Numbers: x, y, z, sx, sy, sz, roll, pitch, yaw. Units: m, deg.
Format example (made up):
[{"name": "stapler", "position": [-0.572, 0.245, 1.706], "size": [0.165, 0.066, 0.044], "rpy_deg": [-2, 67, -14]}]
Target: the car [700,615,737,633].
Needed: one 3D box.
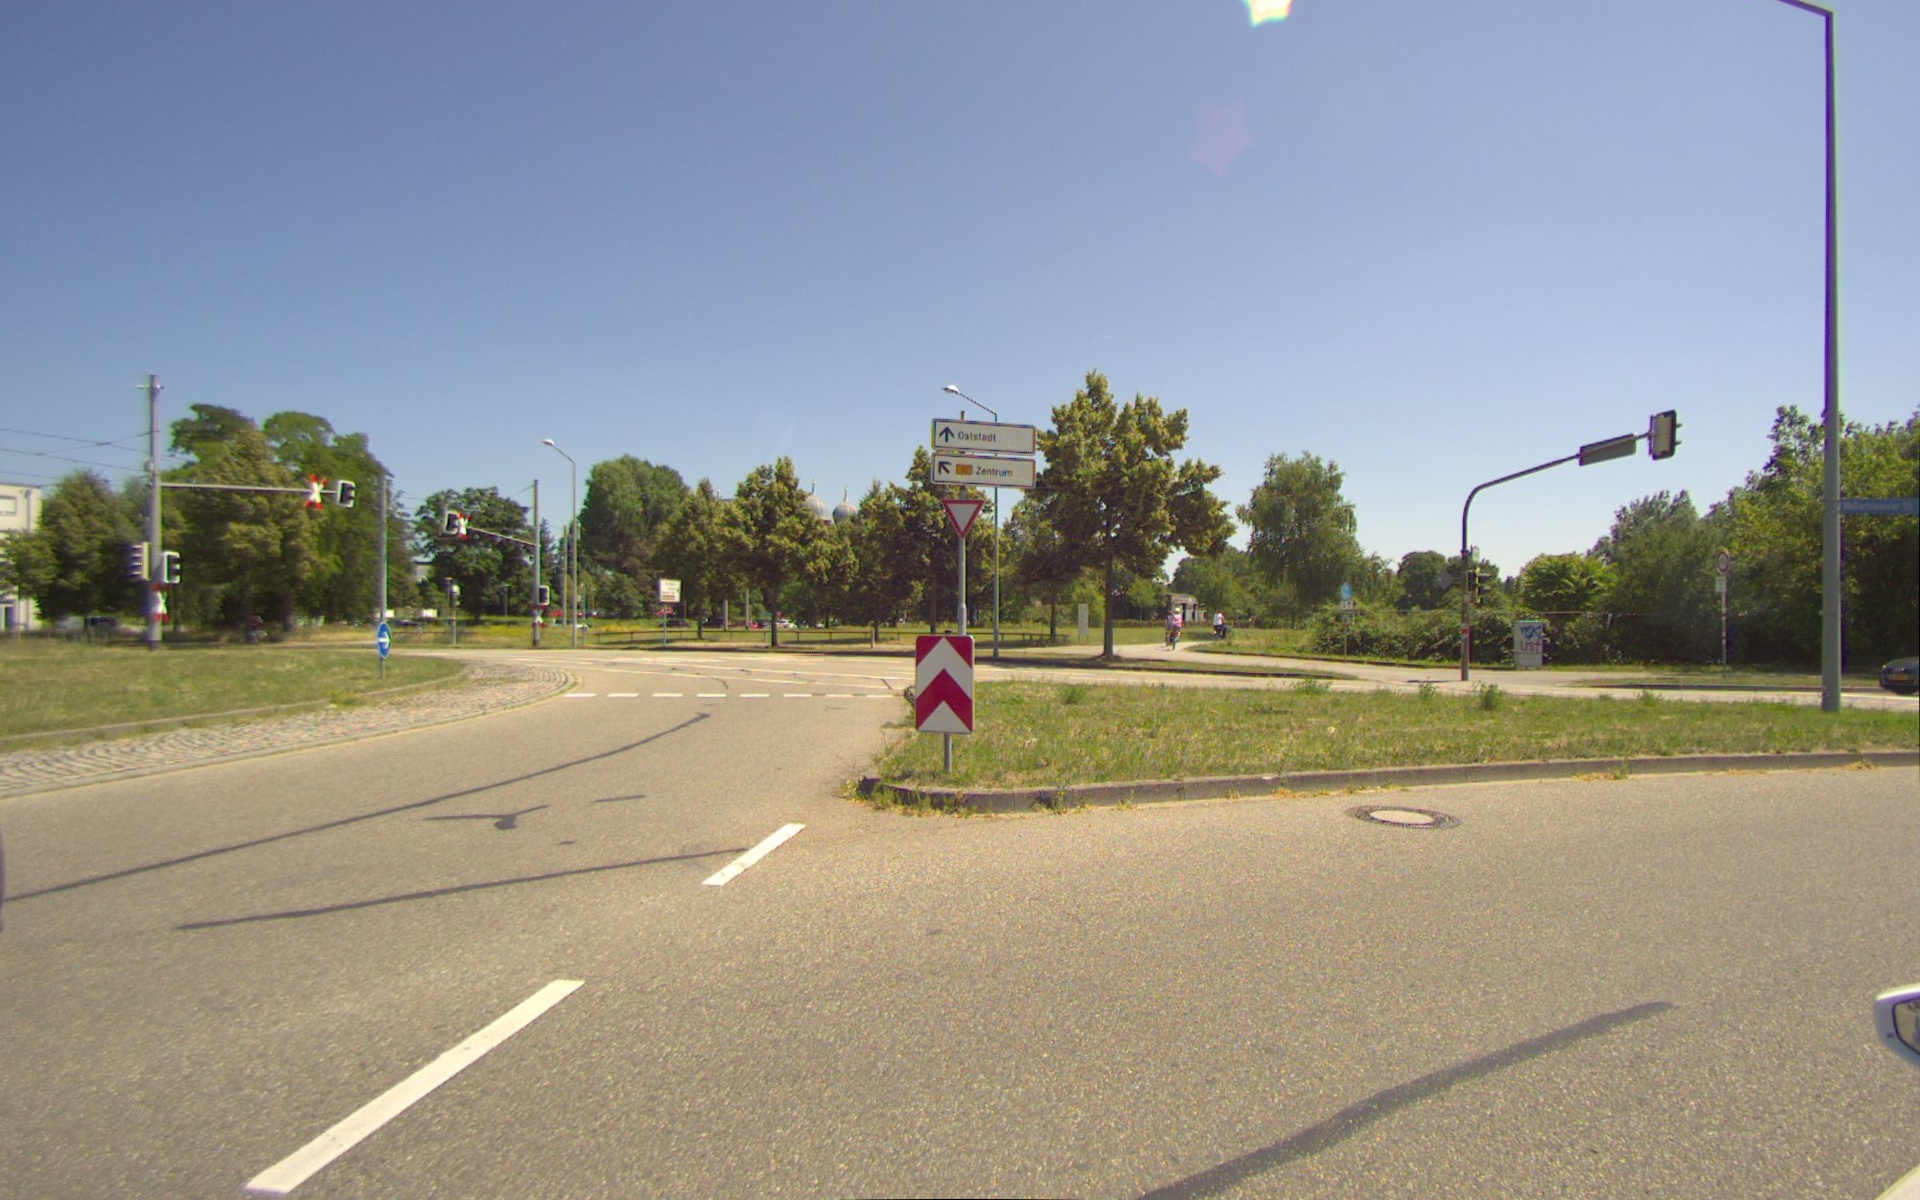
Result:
[{"name": "car", "position": [-28.849, 2.864, 119.915], "size": [3.923, 2.040, 1.999], "rpy_deg": [1, -2, -4]}]

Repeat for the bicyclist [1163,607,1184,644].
[{"name": "bicyclist", "position": [9.684, 1.163, 45.535], "size": [0.940, 1.631, 1.187], "rpy_deg": [0, -2, 13]}]

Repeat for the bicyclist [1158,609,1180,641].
[{"name": "bicyclist", "position": [10.361, 1.243, 49.861], "size": [0.941, 1.552, 1.186], "rpy_deg": [0, 0, 18]}]

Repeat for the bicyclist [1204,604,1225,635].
[{"name": "bicyclist", "position": [13.919, 1.069, 54.918], "size": [0.745, 1.635, 0.973], "rpy_deg": [-1, -3, 40]}]

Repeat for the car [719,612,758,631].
[{"name": "car", "position": [-24.766, 2.420, 112.514], "size": [3.923, 2.040, 1.999], "rpy_deg": [1, -2, -4]}]

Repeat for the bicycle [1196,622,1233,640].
[{"name": "bicycle", "position": [13.895, 1.719, 54.852], "size": [0.730, 0.924, 2.915], "rpy_deg": [-1, -3, 41]}]

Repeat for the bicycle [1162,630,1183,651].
[{"name": "bicycle", "position": [9.662, 1.840, 45.542], "size": [0.880, 0.912, 2.228], "rpy_deg": [1, -2, 13]}]

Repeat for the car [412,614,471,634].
[{"name": "car", "position": [-43.913, 2.040, 85.190], "size": [3.926, 1.594, 1.998], "rpy_deg": [1, -2, -7]}]

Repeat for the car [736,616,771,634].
[{"name": "car", "position": [-25.614, 3.112, 124.661], "size": [3.923, 2.040, 1.999], "rpy_deg": [1, -2, -4]}]

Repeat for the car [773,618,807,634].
[{"name": "car", "position": [-22.364, 3.477, 132.141], "size": [3.920, 2.040, 2.001], "rpy_deg": [1, -2, 3]}]

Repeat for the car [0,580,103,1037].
[{"name": "car", "position": [-4.374, 0.656, 1.991], "size": [1.601, 1.528, 3.821], "rpy_deg": [1, 0, 15]}]

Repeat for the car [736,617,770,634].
[{"name": "car", "position": [-26.203, 3.208, 127.103], "size": [3.923, 2.040, 1.999], "rpy_deg": [1, -2, -4]}]

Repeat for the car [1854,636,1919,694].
[{"name": "car", "position": [24.086, 1.532, 23.730], "size": [4.321, 1.287, 1.864], "rpy_deg": [0, -1, -1]}]

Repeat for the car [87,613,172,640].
[{"name": "car", "position": [-55.656, 1.771, 67.380], "size": [1.967, 1.706, 3.988], "rpy_deg": [-1, -3, 35]}]

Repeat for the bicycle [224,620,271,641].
[{"name": "bicycle", "position": [-39.724, 1.699, 56.012], "size": [2.031, 1.129, 0.725], "rpy_deg": [2, -2, -27]}]

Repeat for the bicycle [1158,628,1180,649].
[{"name": "bicycle", "position": [10.387, 1.897, 49.850], "size": [0.881, 0.912, 1.762], "rpy_deg": [1, 1, 18]}]

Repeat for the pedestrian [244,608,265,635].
[{"name": "pedestrian", "position": [-39.434, 1.197, 56.166], "size": [0.807, 1.469, 0.705], "rpy_deg": [2, -2, -26]}]
